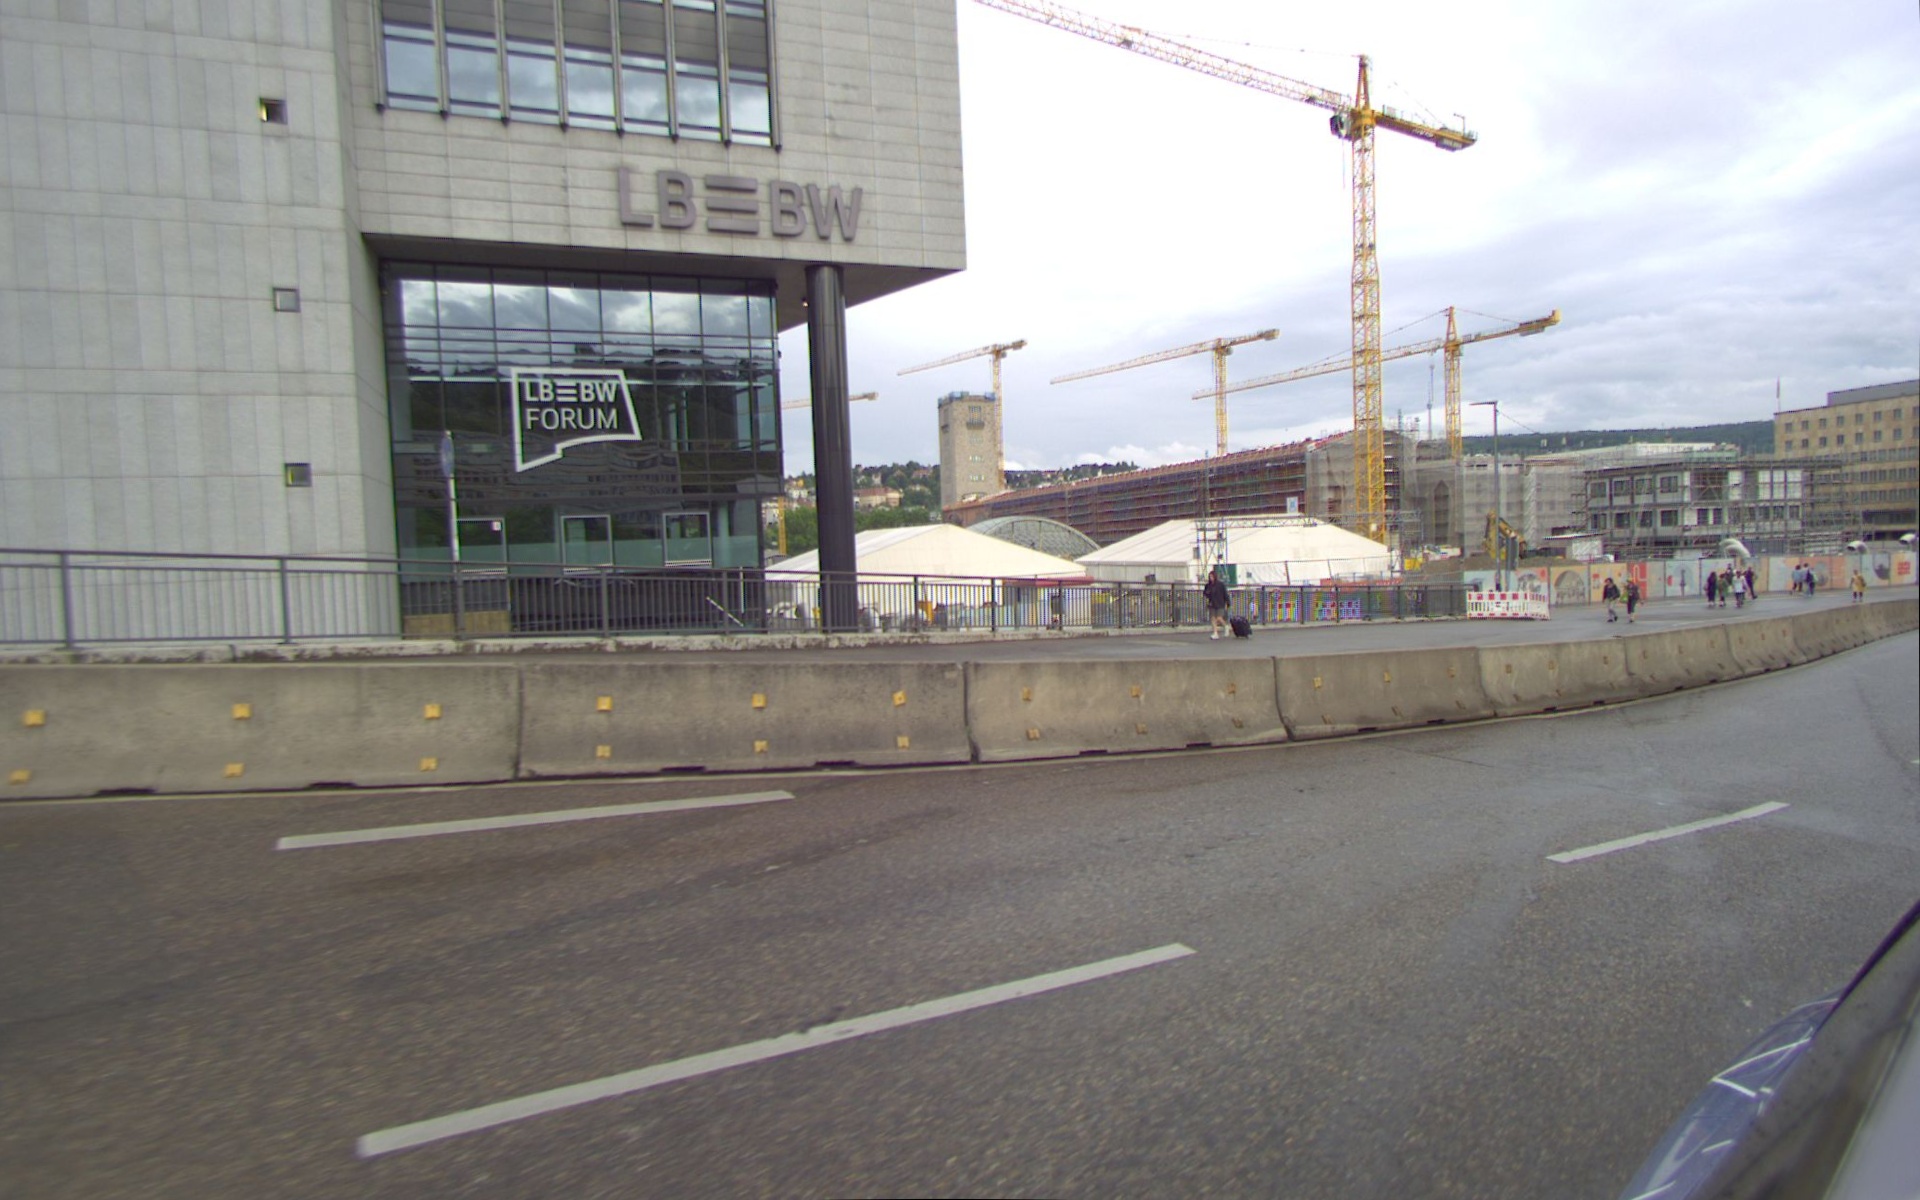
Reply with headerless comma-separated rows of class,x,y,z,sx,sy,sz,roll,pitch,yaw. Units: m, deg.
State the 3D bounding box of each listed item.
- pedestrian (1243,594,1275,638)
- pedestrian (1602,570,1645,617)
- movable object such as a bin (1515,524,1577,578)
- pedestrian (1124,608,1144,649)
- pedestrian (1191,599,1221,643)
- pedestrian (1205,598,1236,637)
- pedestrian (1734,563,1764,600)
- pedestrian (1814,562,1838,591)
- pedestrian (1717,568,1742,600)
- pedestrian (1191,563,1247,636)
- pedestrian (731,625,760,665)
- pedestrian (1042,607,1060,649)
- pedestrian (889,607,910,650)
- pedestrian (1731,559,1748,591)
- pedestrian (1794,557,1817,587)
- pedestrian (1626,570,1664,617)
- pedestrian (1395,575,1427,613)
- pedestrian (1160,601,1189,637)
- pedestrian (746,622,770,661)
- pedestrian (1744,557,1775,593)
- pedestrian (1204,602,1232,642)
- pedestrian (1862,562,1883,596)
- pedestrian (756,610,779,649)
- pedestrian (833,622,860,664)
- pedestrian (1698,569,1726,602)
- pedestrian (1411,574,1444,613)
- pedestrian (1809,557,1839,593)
pedestrian,12.978,0.673,43.934,0.987,1.803,0.871,-2,2,-11
pedestrian,23.880,-0.245,36.430,0.932,1.612,0.865,-2,2,-13
movable object such as a bin,39.511,-3.320,68.190,4.150,3.450,1.944,-3,3,-33
pedestrian,7.243,1.197,42.105,0.739,1.657,0.586,-1,2,8
pedestrian,10.636,0.911,43.843,0.987,1.805,0.775,-2,2,-11
pedestrian,11.532,0.760,44.806,0.987,1.657,0.871,-2,2,-11
pedestrian,38.077,-0.898,48.844,0.873,1.743,0.781,-2,2,-21
pedestrian,48.118,-1.320,56.246,0.751,1.572,0.650,-2,2,-4
pedestrian,37.598,-0.782,49.438,0.867,1.541,0.612,-2,2,-21
pedestrian,6.085,-0.031,23.811,1.039,1.672,0.733,-1,1,-13
pedestrian,-9.493,1.972,44.827,0.990,1.657,0.868,-2,2,4
pedestrian,3.749,1.146,41.708,0.554,1.635,0.707,-2,2,-8
pedestrian,-2.658,1.262,44.437,0.633,1.838,0.752,-1,2,19
pedestrian,43.710,-1.412,56.733,0.485,1.769,0.570,-2,2,-22
pedestrian,47.697,-1.566,57.080,0.751,1.675,0.650,-2,2,-4
pedestrian,24.095,-0.226,35.616,0.788,1.594,0.735,-2,0,-13
pedestrian,21.064,-0.298,47.289,0.987,1.710,0.871,-2,2,-11
pedestrian,9.889,0.866,46.682,0.987,1.572,0.871,-2,2,-11
pedestrian,-9.244,1.896,46.347,0.988,1.657,0.870,-2,2,-7
pedestrian,41.863,-1.298,52.996,0.987,1.840,0.871,-2,2,-21
pedestrian,10.957,0.928,43.027,0.897,1.657,0.701,-2,2,-11
pedestrian,45.666,-1.041,50.640,0.892,1.652,0.648,-3,3,-40
pedestrian,-8.400,1.297,44.209,0.645,1.657,0.737,-1,2,19
pedestrian,-4.817,1.811,42.948,0.987,1.657,0.871,-2,2,-11
pedestrian,37.202,-0.744,50.069,0.987,1.572,0.718,-2,2,-21
pedestrian,21.340,-0.301,46.201,0.987,1.746,0.871,-2,2,-11
pedestrian,46.774,-1.353,54.789,0.913,1.871,0.821,-2,2,-4
